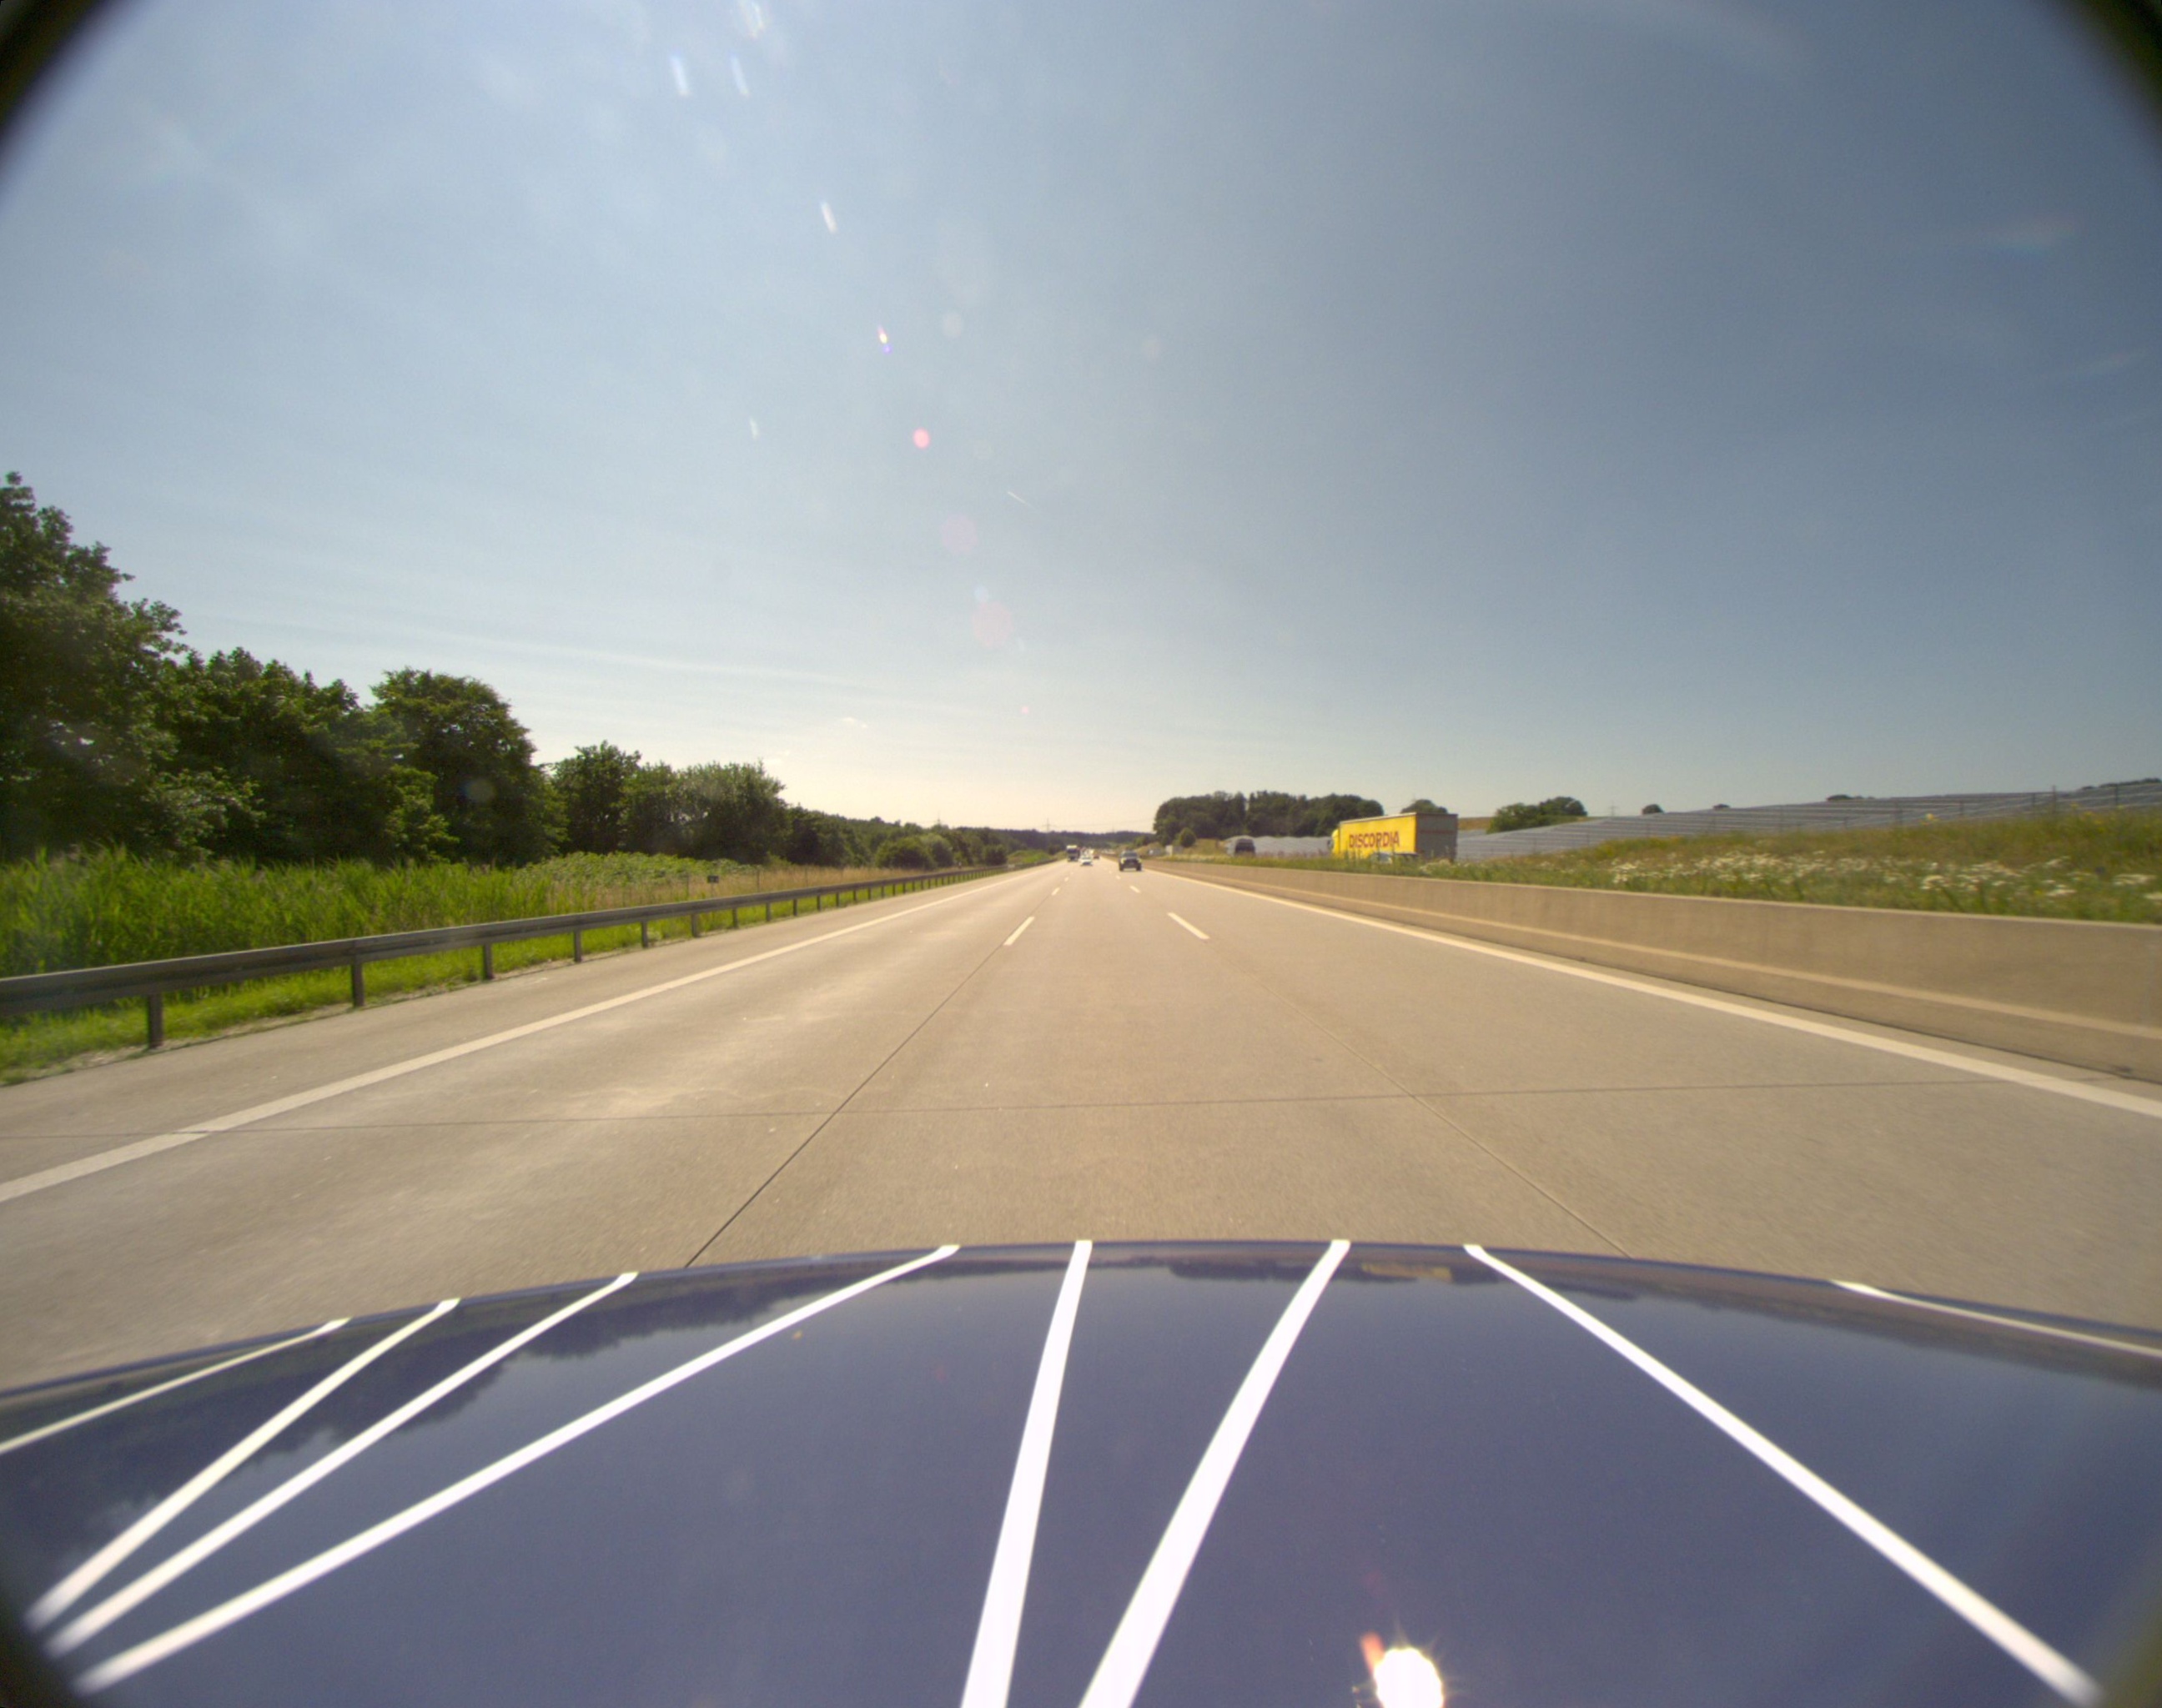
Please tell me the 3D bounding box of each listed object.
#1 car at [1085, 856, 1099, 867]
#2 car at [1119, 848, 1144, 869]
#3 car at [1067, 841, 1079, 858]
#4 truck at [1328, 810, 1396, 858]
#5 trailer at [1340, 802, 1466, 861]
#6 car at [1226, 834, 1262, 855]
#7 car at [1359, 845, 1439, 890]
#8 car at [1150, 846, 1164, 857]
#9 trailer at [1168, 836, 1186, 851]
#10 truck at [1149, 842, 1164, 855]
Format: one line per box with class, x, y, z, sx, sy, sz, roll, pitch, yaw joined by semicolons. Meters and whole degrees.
car;1.661;1.123;113.739;2.065;1.472;5.068;-2;0;0
car;4.733;0.363;72.288;1.998;1.836;6.529;-3;0;1
car;-2.056;-1.106;193.954;2.766;4.029;10.852;-1;0;1
truck;21.629;-1.492;58.809;2.930;3.519;6.347;0;1;1
trailer;21.628;-1.430;52.412;2.939;3.530;14.018;0;1;1
car;14.345;-0.865;67.253;1.998;1.718;5.389;-2;1;1
car;13.460;0.511;32.424;1.830;1.718;3.741;-2;1;1
car;15.697;-0.564;156.804;2.189;2.002;6.347;-2;1;0
trailer;23.546;-2.565;186.608;3.082;3.504;11.762;-2;1;1
truck;19.186;-1.369;194.282;2.832;3.046;10.374;-2;1;0
